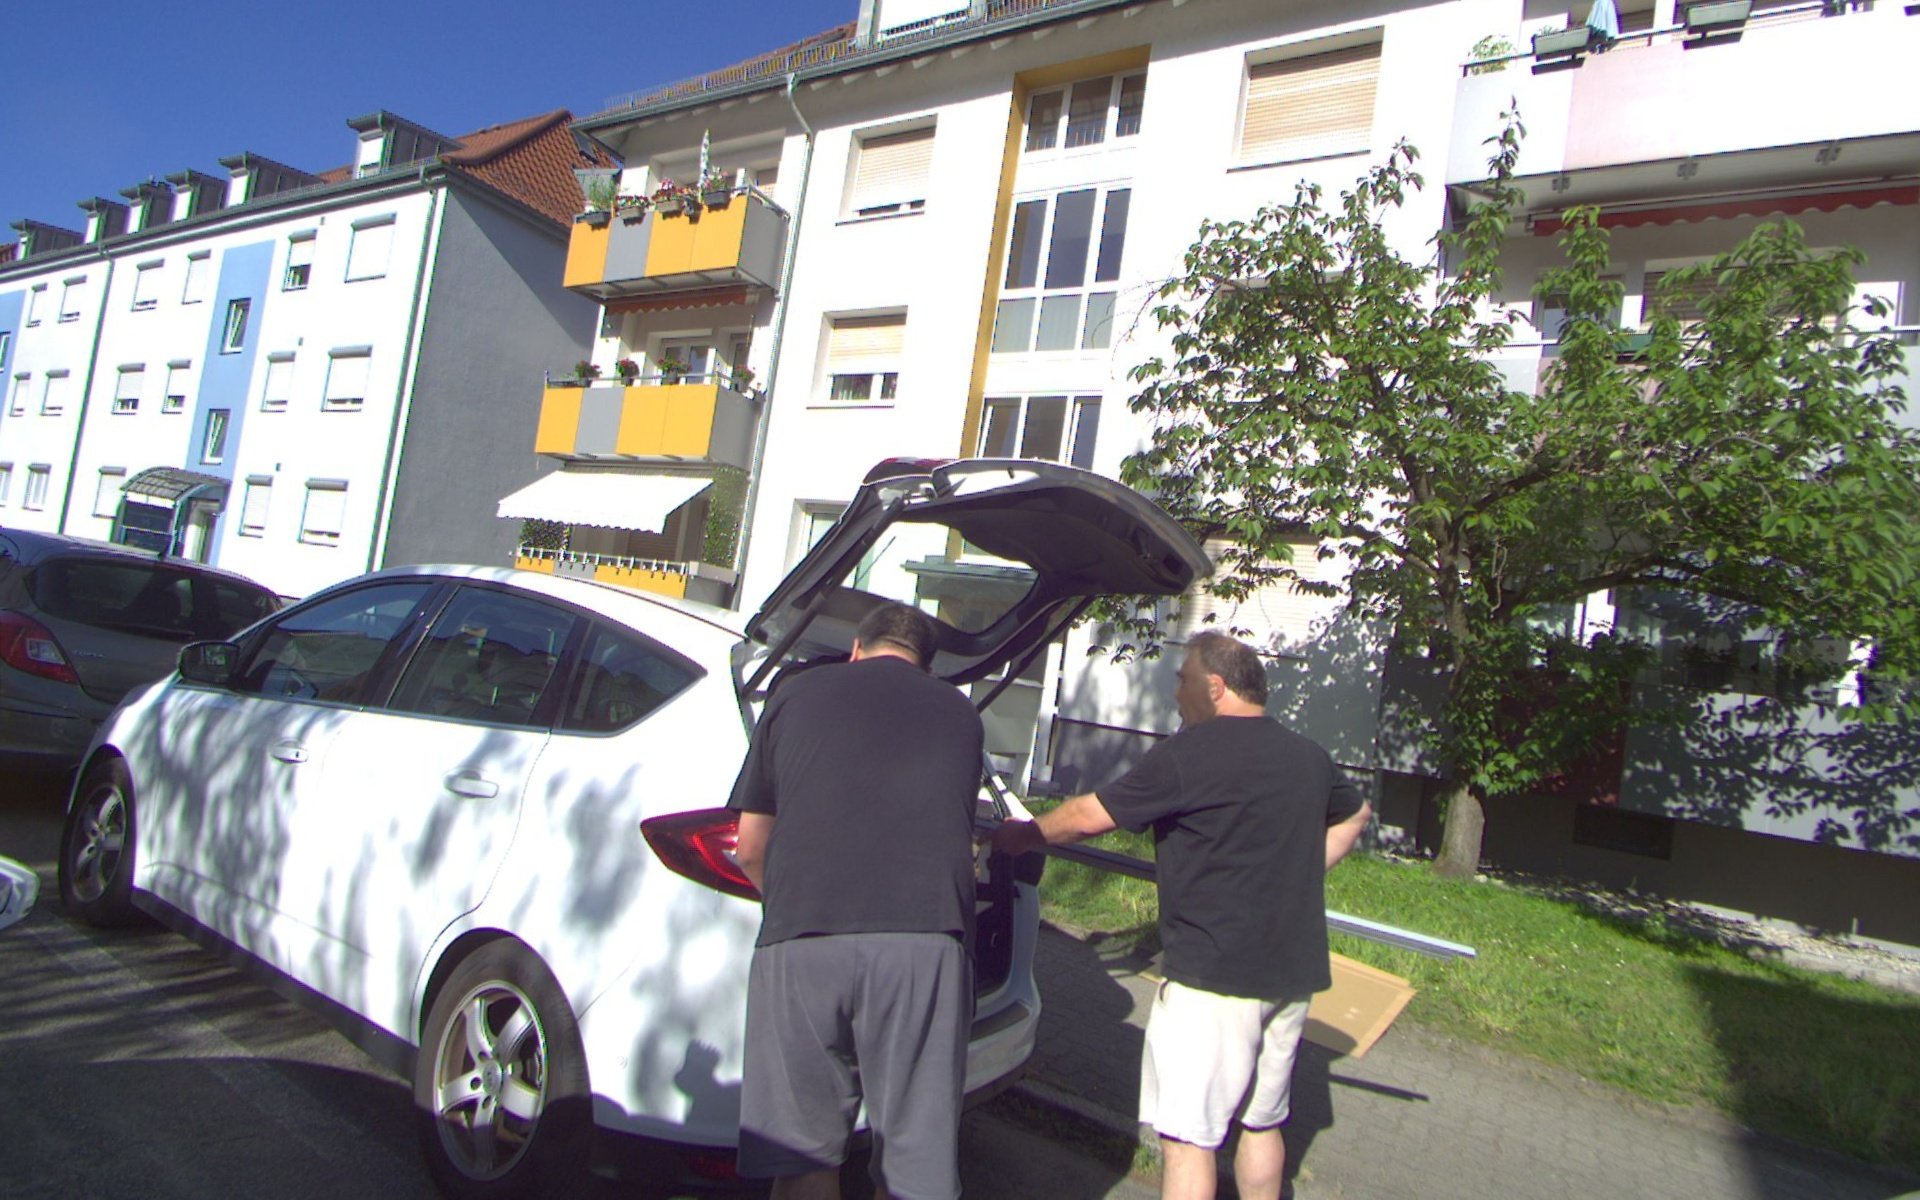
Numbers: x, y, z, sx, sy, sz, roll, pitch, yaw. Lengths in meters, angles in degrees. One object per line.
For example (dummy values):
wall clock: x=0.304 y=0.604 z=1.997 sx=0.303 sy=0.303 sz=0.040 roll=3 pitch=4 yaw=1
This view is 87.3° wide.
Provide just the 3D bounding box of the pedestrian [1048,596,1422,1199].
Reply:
pedestrian: x=0.765 y=0.912 z=2.700 sx=0.594 sy=1.706 sz=0.821 roll=7 pitch=-2 yaw=31

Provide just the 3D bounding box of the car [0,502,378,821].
car: x=-5.818 y=0.237 z=6.474 sx=3.917 sy=1.505 sz=1.700 roll=7 pitch=-6 yaw=31

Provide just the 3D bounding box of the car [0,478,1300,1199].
car: x=-1.554 y=0.669 z=3.829 sx=4.915 sy=1.628 sz=2.000 roll=7 pitch=-6 yaw=34

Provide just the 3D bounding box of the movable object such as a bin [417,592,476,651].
movable object such as a bin: x=-9.983 y=0.425 z=19.566 sx=0.745 sy=1.046 sz=0.644 roll=4 pitch=-3 yaw=32

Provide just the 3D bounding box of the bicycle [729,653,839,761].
bicycle: x=-2.203 y=1.318 z=12.520 sx=1.252 sy=1.145 sz=0.404 roll=7 pitch=-3 yaw=33

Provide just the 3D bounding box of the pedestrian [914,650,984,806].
pedestrian: x=-0.104 y=1.290 z=10.186 sx=0.354 sy=1.511 sz=0.451 roll=5 pitch=-3 yaw=32

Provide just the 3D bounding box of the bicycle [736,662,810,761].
bicycle: x=-2.102 y=1.270 z=11.370 sx=0.235 sy=1.059 sz=0.742 roll=7 pitch=-2 yaw=34

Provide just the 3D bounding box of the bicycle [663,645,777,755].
bicycle: x=-2.840 y=1.167 z=11.865 sx=1.278 sy=1.099 sz=0.404 roll=7 pitch=-2 yaw=33

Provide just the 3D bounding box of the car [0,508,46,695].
car: x=-9.525 y=-0.215 z=8.803 sx=2.895 sy=1.543 sz=1.484 roll=6 pitch=-6 yaw=36

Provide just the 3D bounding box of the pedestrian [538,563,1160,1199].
pedestrian: x=-0.222 y=0.800 z=2.106 sx=0.865 sy=1.593 sz=0.741 roll=7 pitch=-2 yaw=31

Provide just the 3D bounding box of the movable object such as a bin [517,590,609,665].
movable object such as a bin: x=-8.537 y=0.608 z=21.663 sx=1.038 sy=1.427 sz=1.346 roll=4 pitch=-3 yaw=32

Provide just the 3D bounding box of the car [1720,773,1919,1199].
car: x=3.296 y=1.255 z=0.502 sx=4.404 sy=1.520 sz=1.779 roll=7 pitch=-5 yaw=30

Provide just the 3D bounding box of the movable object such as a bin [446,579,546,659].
movable object such as a bin: x=-9.386 y=0.393 z=20.379 sx=1.088 sy=1.422 sz=1.331 roll=4 pitch=-3 yaw=32
